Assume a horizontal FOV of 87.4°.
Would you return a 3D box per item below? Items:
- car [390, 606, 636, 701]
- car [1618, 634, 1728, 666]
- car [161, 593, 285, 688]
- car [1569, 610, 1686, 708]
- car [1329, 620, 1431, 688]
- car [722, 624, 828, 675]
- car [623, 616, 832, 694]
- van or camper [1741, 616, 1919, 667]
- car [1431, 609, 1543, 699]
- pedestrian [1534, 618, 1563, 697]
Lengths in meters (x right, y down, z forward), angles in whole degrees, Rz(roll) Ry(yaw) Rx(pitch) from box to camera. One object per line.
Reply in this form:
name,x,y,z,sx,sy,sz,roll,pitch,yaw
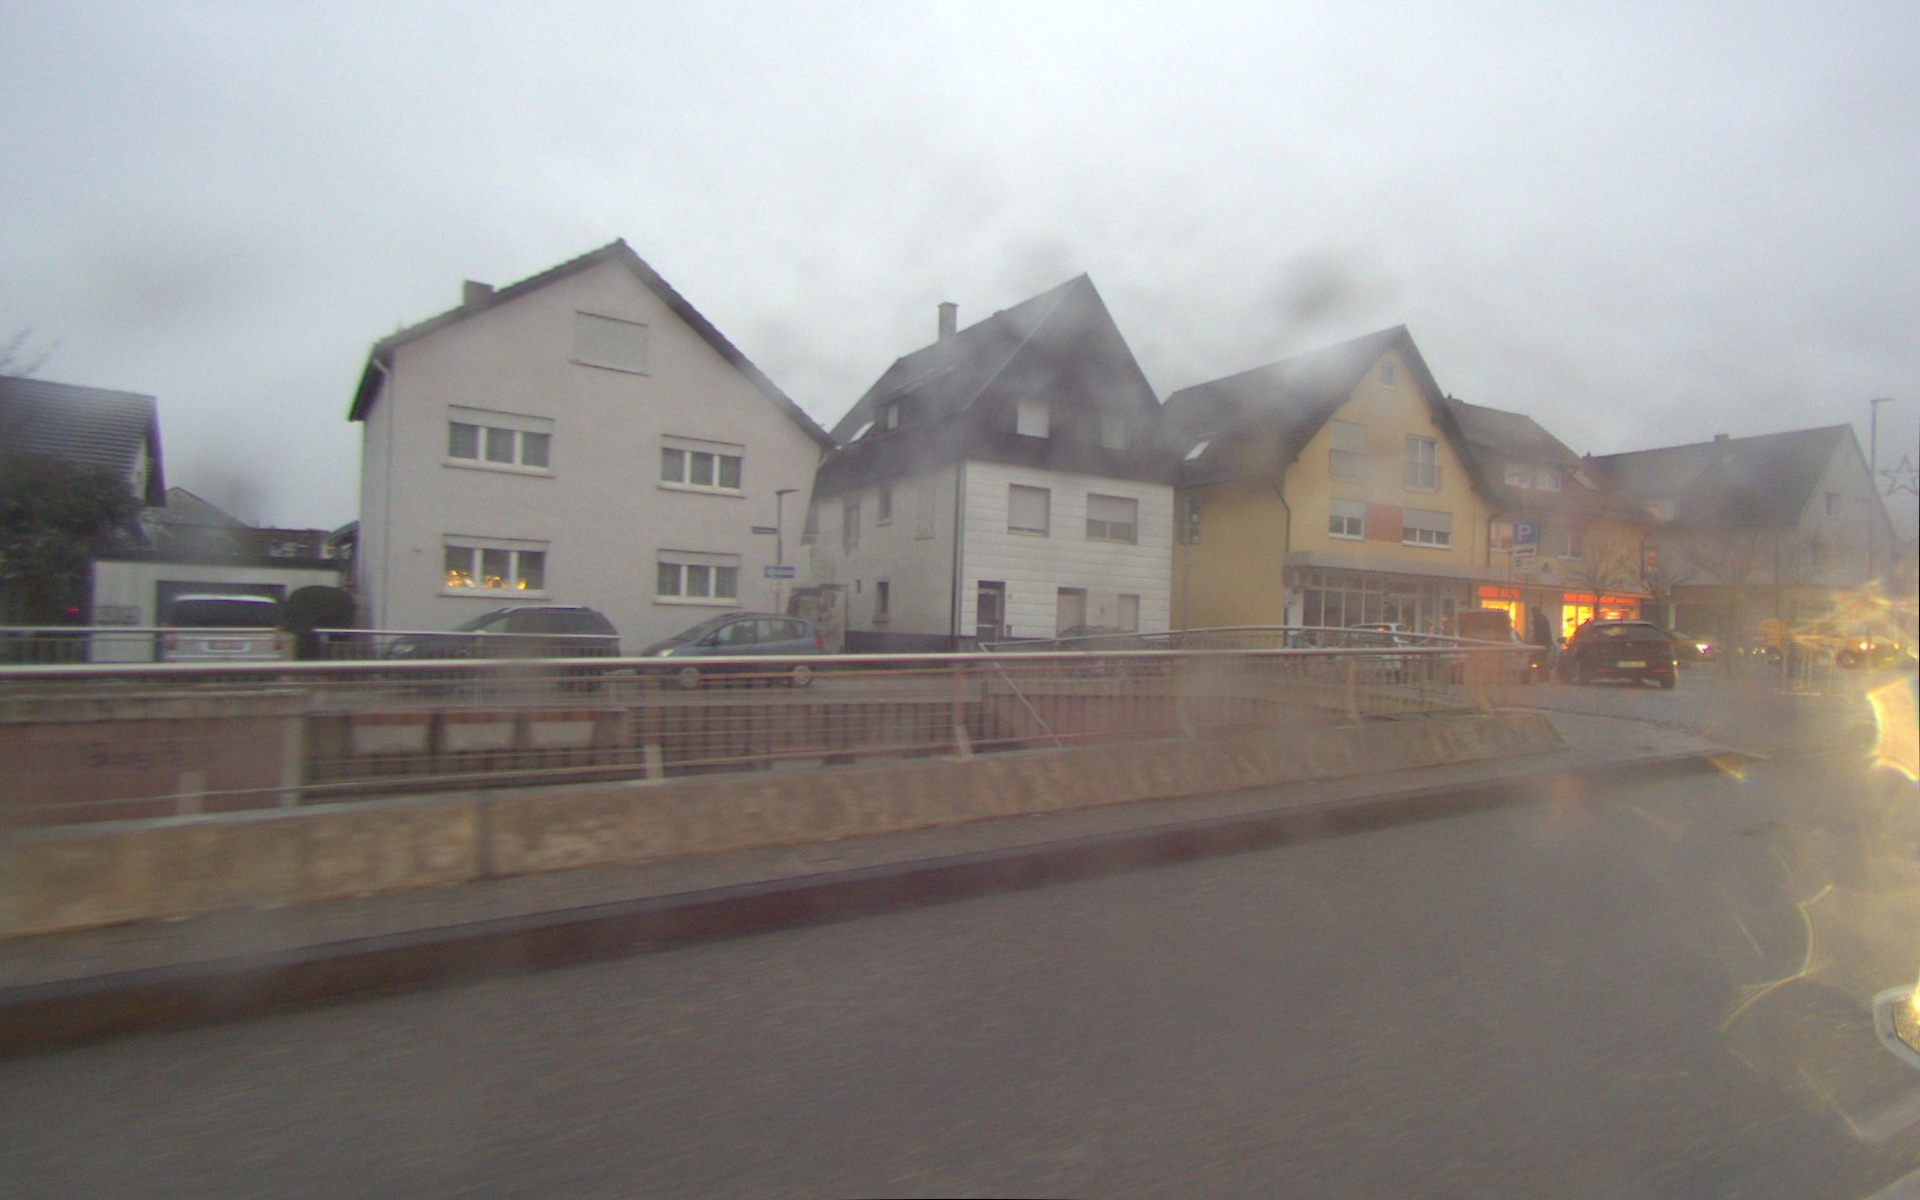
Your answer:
car,-8.813,1.008,19.938,4.177,1.705,1.897,2,-1,-36
car,33.998,2.373,47.978,1.708,1.383,3.964,1,-1,-33
car,-14.936,0.809,20.359,1.847,1.716,3.958,1,-2,-37
car,14.927,1.242,22.545,2.009,1.951,4.046,0,-1,33
car,11.223,1.385,26.714,1.796,1.634,4.046,0,-1,33
car,-5.781,1.483,31.048,1.823,1.431,3.963,1,-1,-33
car,-5.155,1.191,22.459,4.172,1.583,1.900,1,-1,-33
van or camper,35.947,1.666,41.663,1.967,1.980,5.531,1,-1,-16
car,12.794,1.231,24.272,2.009,1.951,4.046,0,-1,33
pedestrian,13.042,1.266,22.255,0.489,1.724,0.711,-1,-2,33
